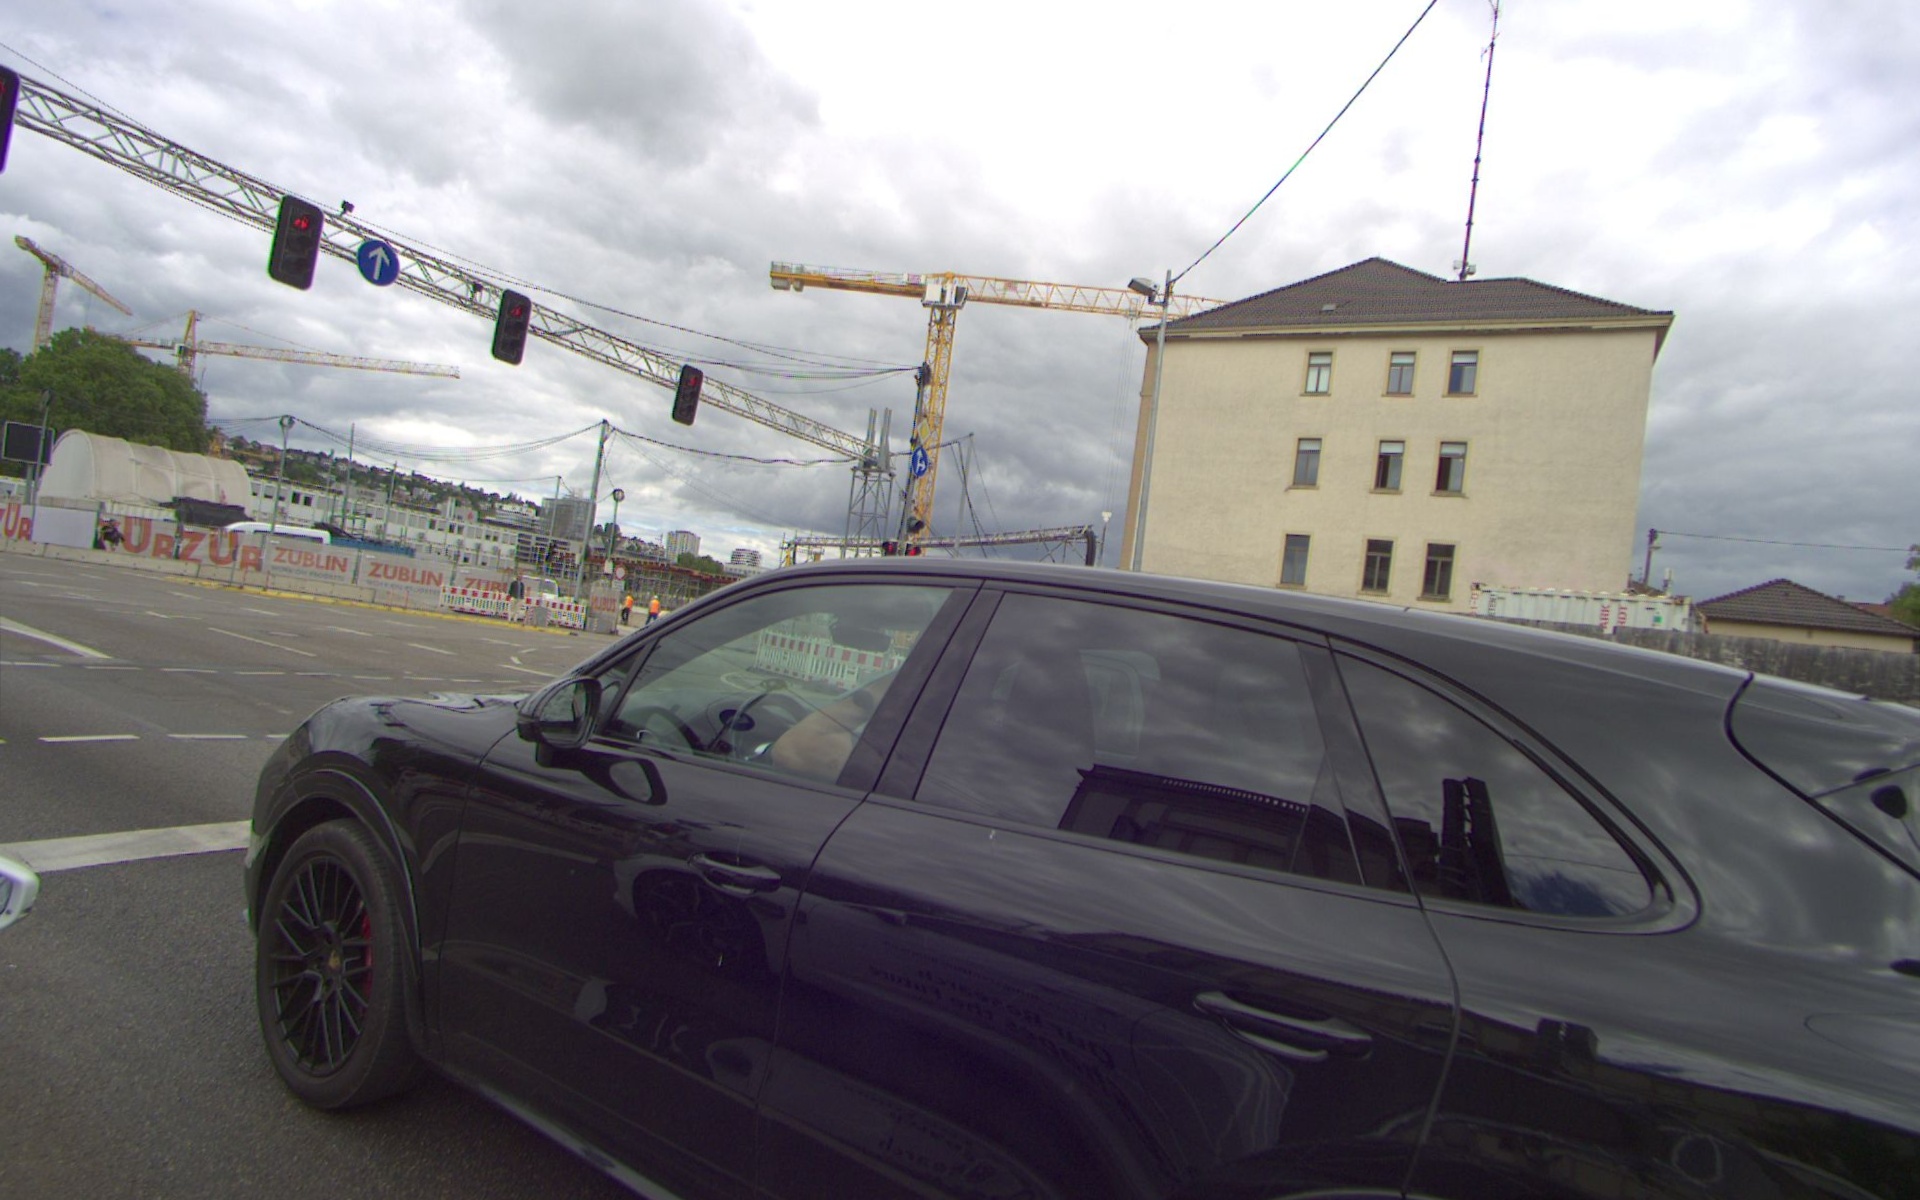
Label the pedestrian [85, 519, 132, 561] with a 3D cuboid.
[{"bbox_3d":[-32.282,-2.285,38.148,0.888,1.393,0.800,8,-1,3],"label":"pedestrian"}]

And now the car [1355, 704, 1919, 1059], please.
[{"bbox_3d":[4.962,1.762,6.723,3.936,1.496,1.662,6,-2,34],"label":"car"}]

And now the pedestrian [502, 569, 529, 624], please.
[{"bbox_3d":[-17.249,-0.120,39.015,0.647,2.037,0.513,8,-1,-33],"label":"pedestrian"}]

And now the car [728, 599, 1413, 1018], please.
[{"bbox_3d":[0.592,1.049,6.364,3.818,1.561,1.667,7,-2,33],"label":"car"}]

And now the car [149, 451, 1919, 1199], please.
[{"bbox_3d":[0.036,0.722,2.688,4.559,1.705,1.959,7,-2,33],"label":"car"}]

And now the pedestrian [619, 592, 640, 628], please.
[{"bbox_3d":[-17.913,0.533,54.503,0.607,1.816,0.654,7,-1,23],"label":"pedestrian"}]

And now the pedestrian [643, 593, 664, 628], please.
[{"bbox_3d":[-16.013,0.560,52.594,0.508,1.737,0.654,7,-1,21],"label":"pedestrian"}]

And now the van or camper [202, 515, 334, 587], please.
[{"bbox_3d":[-29.810,-2.071,43.404,4.204,2.384,1.976,10,-3,-44],"label":"van or camper"}]

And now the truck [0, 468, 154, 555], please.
[{"bbox_3d":[-57.898,-5.795,61.922,3.875,4.086,13.089,8,-2,12],"label":"truck"}]
